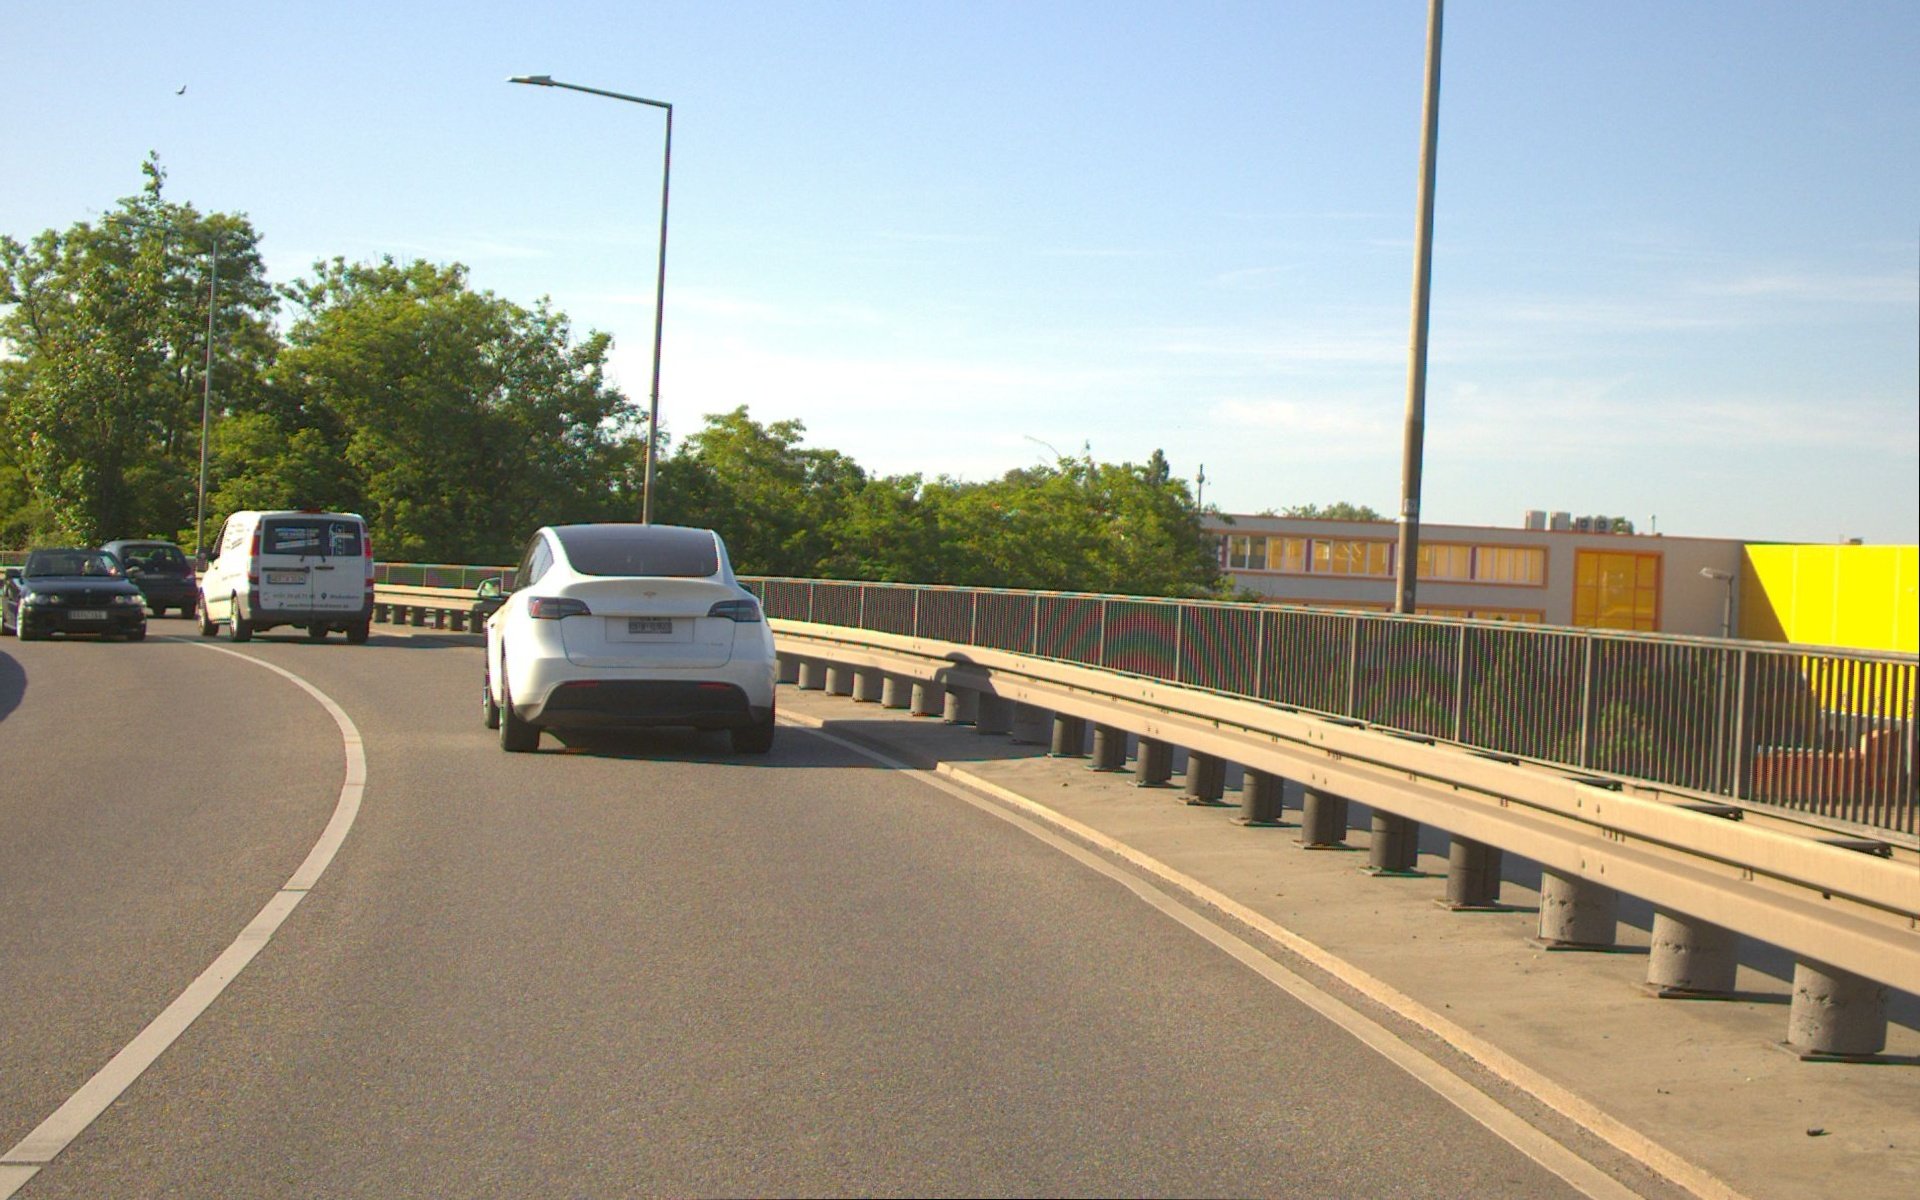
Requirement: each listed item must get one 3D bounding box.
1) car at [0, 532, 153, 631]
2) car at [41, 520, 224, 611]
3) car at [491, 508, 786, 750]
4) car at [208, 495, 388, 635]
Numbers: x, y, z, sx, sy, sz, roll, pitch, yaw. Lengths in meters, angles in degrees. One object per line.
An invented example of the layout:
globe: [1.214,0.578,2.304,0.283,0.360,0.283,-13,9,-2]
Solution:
car: [-12.788,-0.294,49.620,1.744,1.350,4.184,0,1,-20]
car: [-15.390,-0.642,63.833,1.969,1.632,3.999,-1,1,-35]
car: [-2.445,0.166,25.395,1.985,1.632,4.063,0,1,-7]
car: [-9.681,-0.537,50.036,2.004,1.934,4.469,0,1,-18]
